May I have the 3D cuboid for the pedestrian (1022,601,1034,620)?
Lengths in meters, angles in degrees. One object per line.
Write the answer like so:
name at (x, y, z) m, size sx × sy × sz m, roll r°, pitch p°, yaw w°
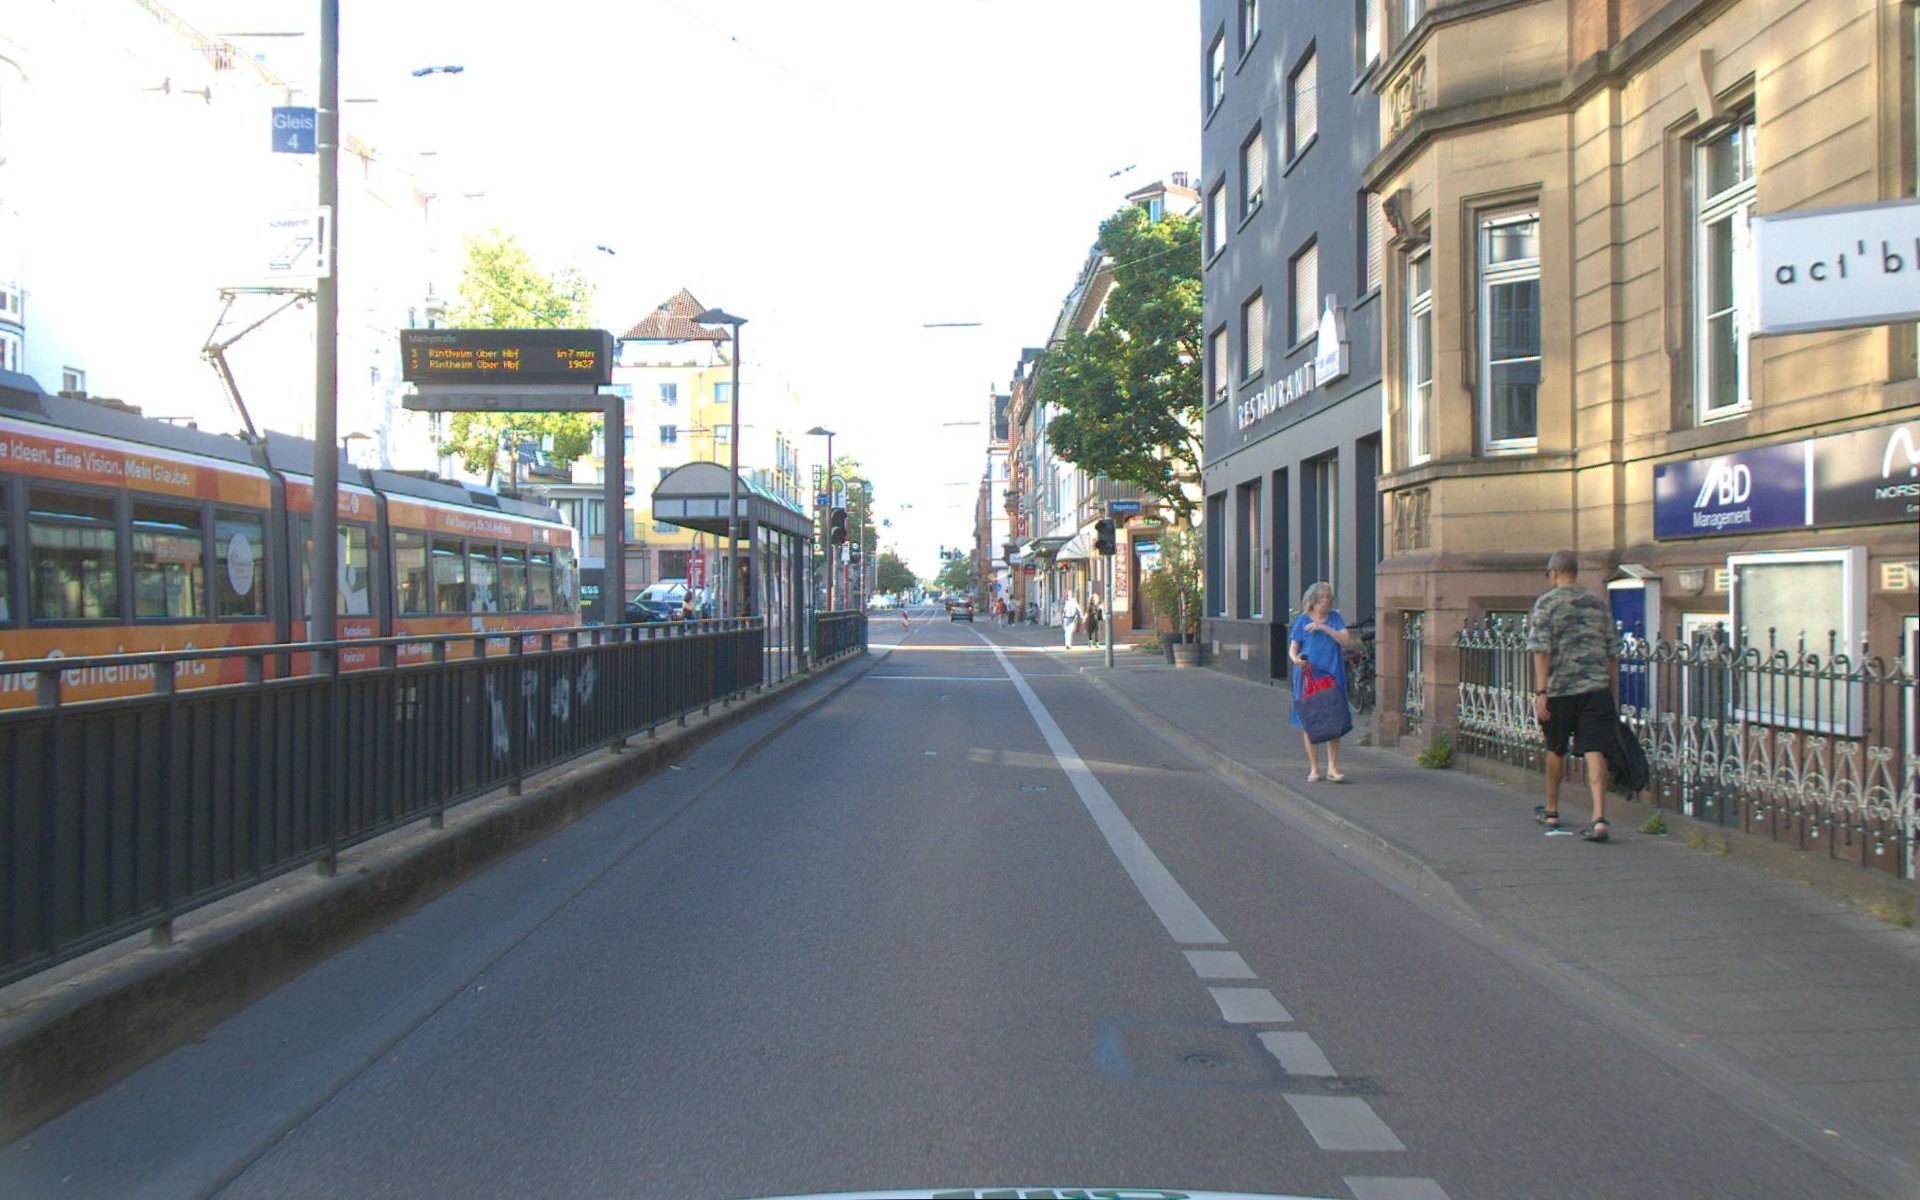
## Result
pedestrian at (3.942, 0.606, 96.084) m, size 0.676 × 1.062 × 0.681 m, roll 0°, pitch 0°, yaw 4°

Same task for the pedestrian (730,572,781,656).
pedestrian at (-2.980, 0.203, 24.175) m, size 0.671 × 1.196 × 0.537 m, roll 0°, pitch 0°, yaw 0°

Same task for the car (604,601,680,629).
car at (-17.820, 0.816, 92.822) m, size 3.905 × 1.537 × 1.800 m, roll 0°, pitch 0°, yaw 0°

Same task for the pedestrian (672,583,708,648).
pedestrian at (-7.370, 0.420, 45.184) m, size 0.852 × 1.744 × 0.787 m, roll 2°, pitch 1°, yaw -3°

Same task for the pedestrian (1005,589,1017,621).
pedestrian at (2.967, 0.303, 96.095) m, size 0.635 × 1.828 × 0.562 m, roll 0°, pitch -1°, yaw 4°

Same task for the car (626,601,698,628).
car at (-17.626, 0.847, 97.936) m, size 3.905 × 1.537 × 1.800 m, roll 0°, pitch 0°, yaw 0°

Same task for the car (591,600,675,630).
car at (-17.814, 0.812, 90.192) m, size 4.231 × 1.537 × 1.800 m, roll 0°, pitch 0°, yaw 0°

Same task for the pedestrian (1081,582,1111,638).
pedestrian at (4.059, 0.285, 49.418) m, size 0.699 × 1.630 × 0.772 m, roll -3°, pitch 1°, yaw -4°

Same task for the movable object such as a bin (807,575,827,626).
movable object such as a bin at (-2.691, 0.011, 31.124) m, size 0.345 × 0.961 × 0.530 m, roll 0°, pitch 0°, yaw -2°

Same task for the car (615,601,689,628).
car at (-17.738, 0.832, 95.403) m, size 3.905 × 1.537 × 1.800 m, roll 0°, pitch 0°, yaw 0°

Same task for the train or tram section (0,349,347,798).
train or tram section at (-8.991, -0.174, 13.443) m, size 2.826 × 3.551 × 14.165 m, roll -2°, pitch 0°, yaw -1°

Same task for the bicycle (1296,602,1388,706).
bicycle at (4.794, 0.649, 20.861) m, size 0.611 × 1.219 × 1.907 m, roll -3°, pitch 0°, yaw -2°

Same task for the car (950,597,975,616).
car at (0.160, 0.551, 131.135) m, size 1.953 × 1.475 × 3.999 m, roll 0°, pitch 0°, yaw -1°

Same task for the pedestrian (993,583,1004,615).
pedestrian at (2.234, -0.039, 95.362) m, size 0.548 × 1.828 × 0.651 m, roll 0°, pitch -1°, yaw 6°

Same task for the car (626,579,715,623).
car at (-17.575, 0.082, 100.522) m, size 5.001 × 2.621 × 2.128 m, roll 0°, pitch 0°, yaw 0°

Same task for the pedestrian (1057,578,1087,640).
pedestrian at (3.338, 0.270, 49.243) m, size 0.699 × 1.805 × 0.772 m, roll -3°, pitch 1°, yaw -4°

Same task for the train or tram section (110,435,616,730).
train or tram section at (-8.946, -0.253, 27.934) m, size 2.826 × 3.551 × 14.952 m, roll -2°, pitch 0°, yaw 1°

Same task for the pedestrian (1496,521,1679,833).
pedestrian at (3.916, 0.460, 10.371) m, size 0.784 × 1.856 × 0.797 m, roll -2°, pitch 0°, yaw -1°

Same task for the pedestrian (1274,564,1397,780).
pedestrian at (3.037, 0.563, 13.431) m, size 0.747 × 1.674 × 0.832 m, roll -2°, pitch 0°, yaw -1°

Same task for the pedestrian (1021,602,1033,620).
pedestrian at (3.878, 0.634, 95.290) m, size 0.676 × 1.062 × 0.681 m, roll 0°, pitch 0°, yaw 4°

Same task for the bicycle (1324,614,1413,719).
bicycle at (4.654, 0.734, 18.942) m, size 0.579 × 1.089 × 1.804 m, roll -3°, pitch 0°, yaw 2°
